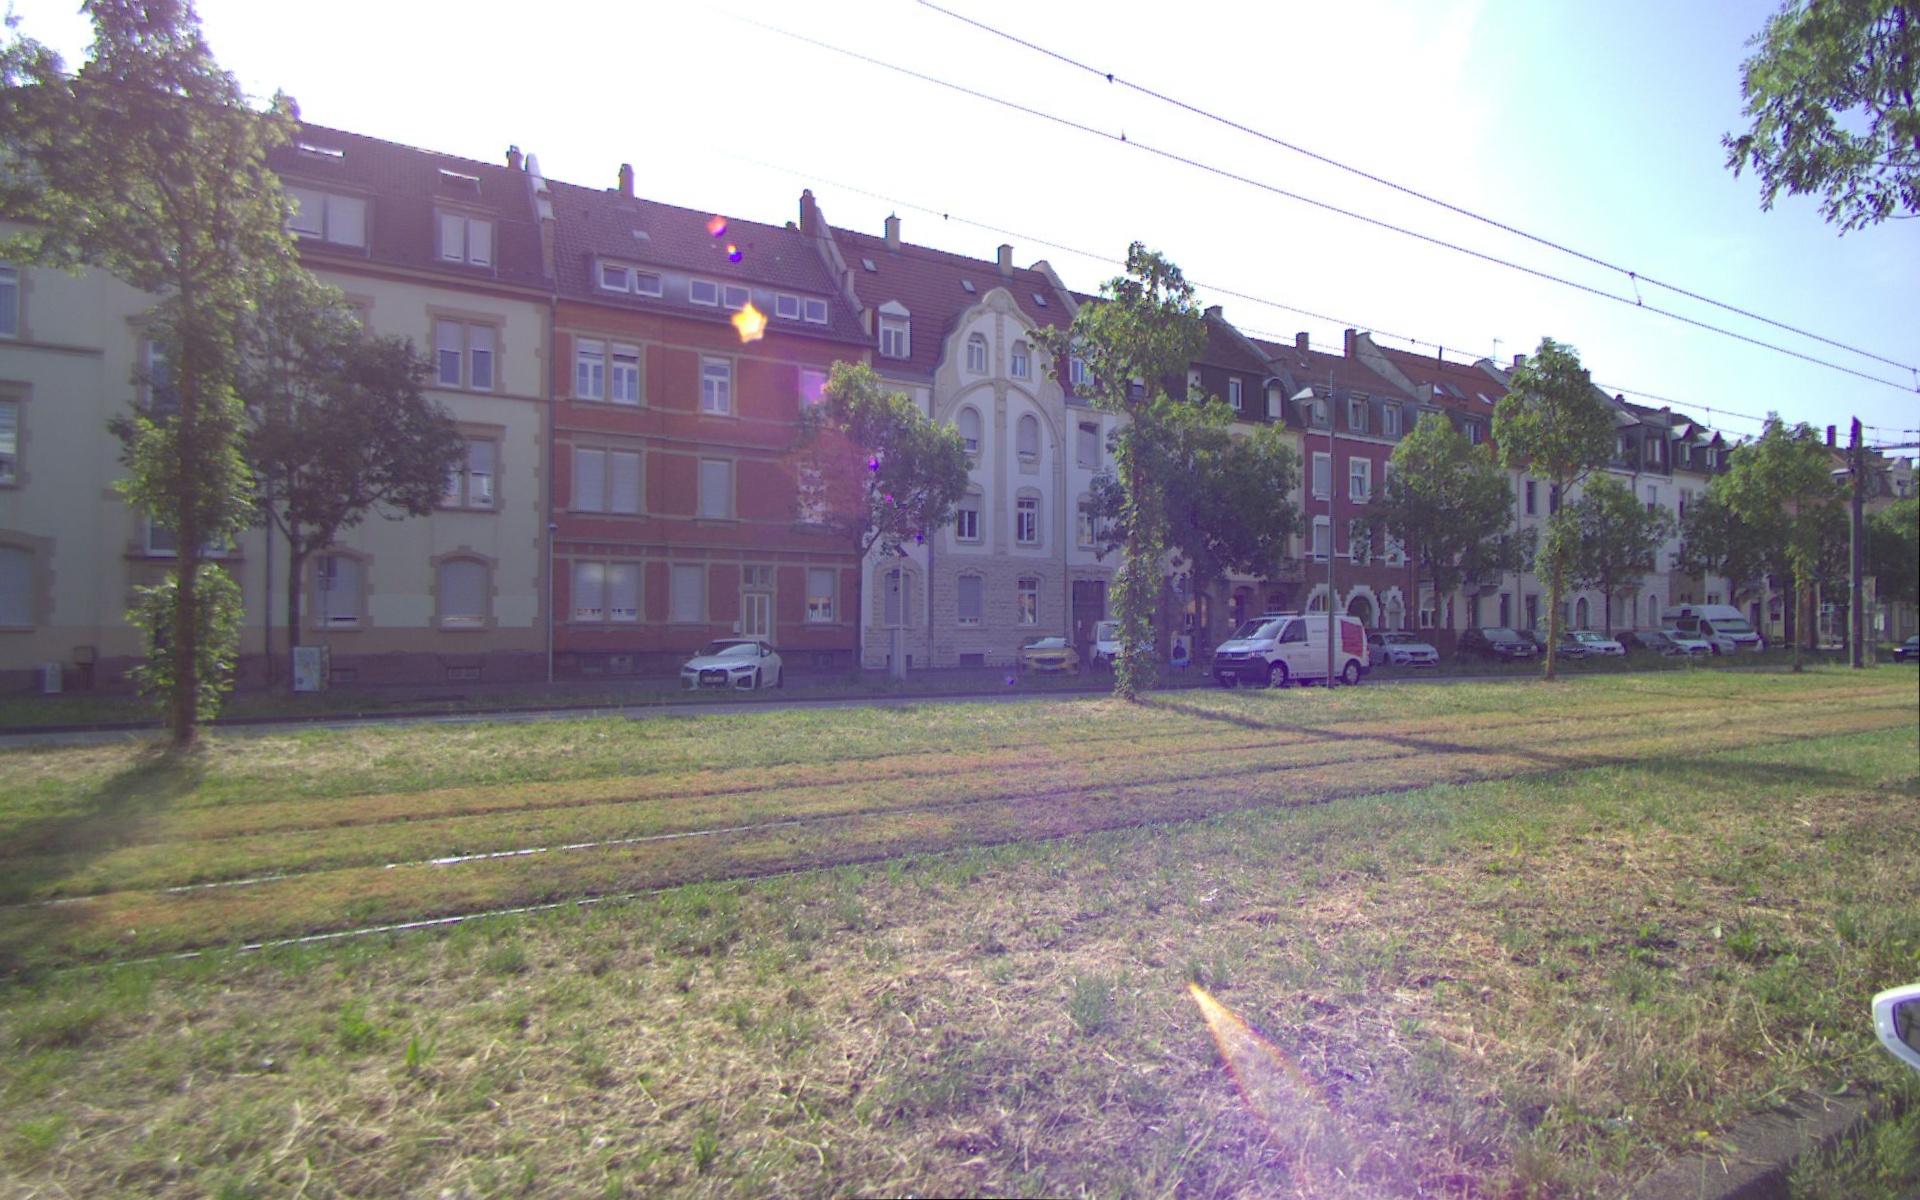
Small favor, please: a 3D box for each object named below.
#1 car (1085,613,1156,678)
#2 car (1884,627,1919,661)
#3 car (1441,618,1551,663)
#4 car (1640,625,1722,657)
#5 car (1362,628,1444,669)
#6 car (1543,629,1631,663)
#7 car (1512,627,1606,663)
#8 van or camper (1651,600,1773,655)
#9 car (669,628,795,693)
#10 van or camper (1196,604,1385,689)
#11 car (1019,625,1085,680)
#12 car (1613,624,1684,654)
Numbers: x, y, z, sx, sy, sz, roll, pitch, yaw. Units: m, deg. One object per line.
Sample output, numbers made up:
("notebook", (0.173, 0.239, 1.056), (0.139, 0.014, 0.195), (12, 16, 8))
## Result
("car", (4.985, 1.361, 31.785), (1.819, 1.749, 4.954), (2, 0, 5))
("car", (49.566, 2.255, 51.248), (5.314, 1.652, 1.985), (2, 0, -29))
("car", (22.162, 1.671, 41.782), (1.799, 1.765, 4.646), (0, -2, -5))
("car", (35.861, 2.008, 50.062), (1.629, 1.349, 3.688), (2, 0, 5))
("car", (16.395, 1.766, 37.347), (1.629, 1.258, 3.688), (2, 0, 5))
("car", (27.635, 1.988, 44.423), (1.629, 1.334, 4.017), (2, -1, 5))
("car", (25.022, 1.856, 42.119), (1.630, 1.258, 3.685), (2, 0, -2))
("van or camper", (38.704, 1.341, 51.929), (2.155, 2.608, 5.928), (2, 0, 5))
("car", (-5.620, 1.477, 25.420), (1.983, 1.505, 4.780), (0, -2, 2))
("van or camper", (9.138, 1.216, 27.627), (5.291, 2.124, 1.942), (0, -1, -31))
("car", (2.788, 1.544, 30.733), (1.819, 1.366, 4.702), (2, 0, 5))
("car", (33.176, 1.844, 48.528), (1.629, 1.258, 3.688), (2, 0, 14))
